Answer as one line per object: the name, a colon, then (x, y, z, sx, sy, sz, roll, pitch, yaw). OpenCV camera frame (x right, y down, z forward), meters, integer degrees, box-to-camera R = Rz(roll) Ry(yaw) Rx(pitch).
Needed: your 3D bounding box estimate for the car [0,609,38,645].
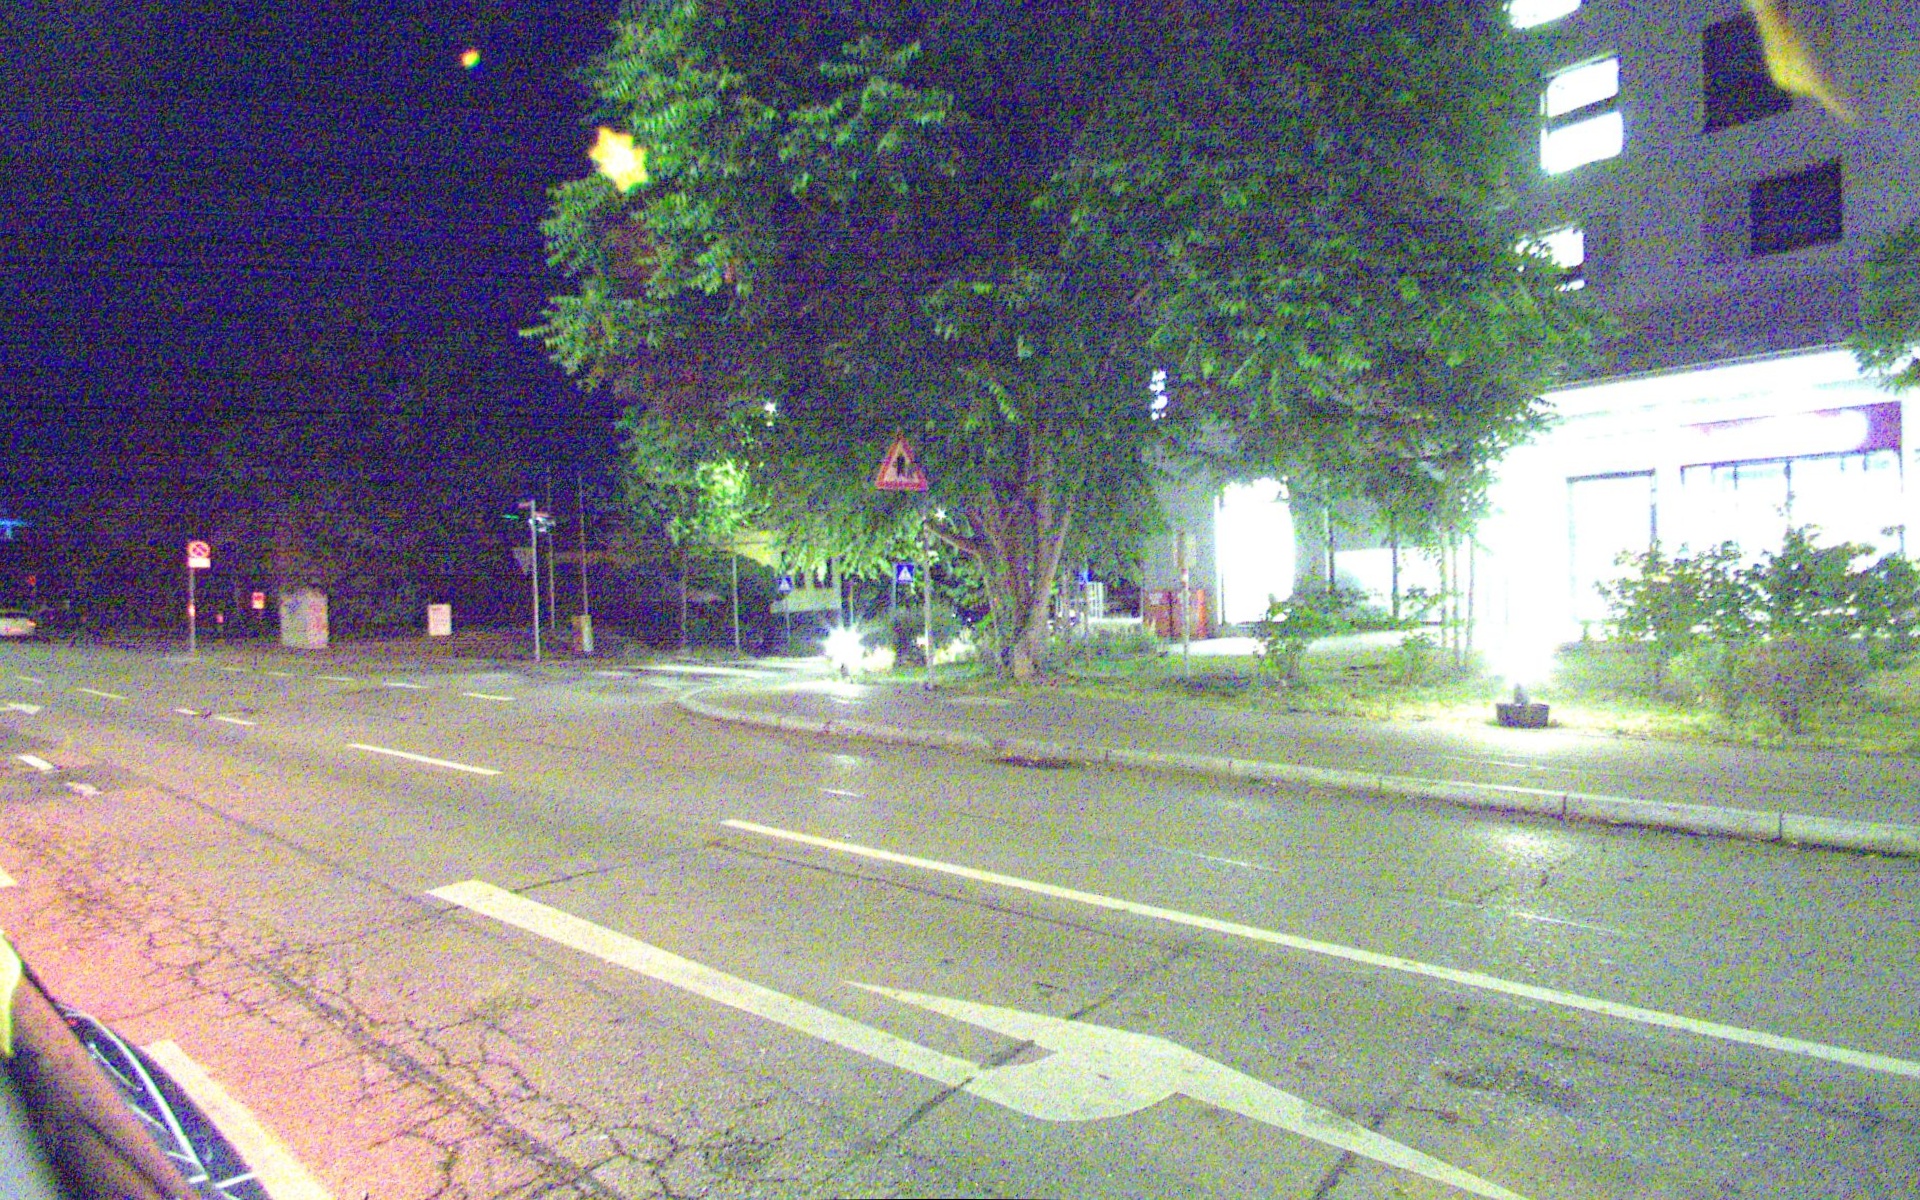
car: (-43.289, 1.200, 45.773, 3.998, 1.464, 1.887, 1, 2, 41)
